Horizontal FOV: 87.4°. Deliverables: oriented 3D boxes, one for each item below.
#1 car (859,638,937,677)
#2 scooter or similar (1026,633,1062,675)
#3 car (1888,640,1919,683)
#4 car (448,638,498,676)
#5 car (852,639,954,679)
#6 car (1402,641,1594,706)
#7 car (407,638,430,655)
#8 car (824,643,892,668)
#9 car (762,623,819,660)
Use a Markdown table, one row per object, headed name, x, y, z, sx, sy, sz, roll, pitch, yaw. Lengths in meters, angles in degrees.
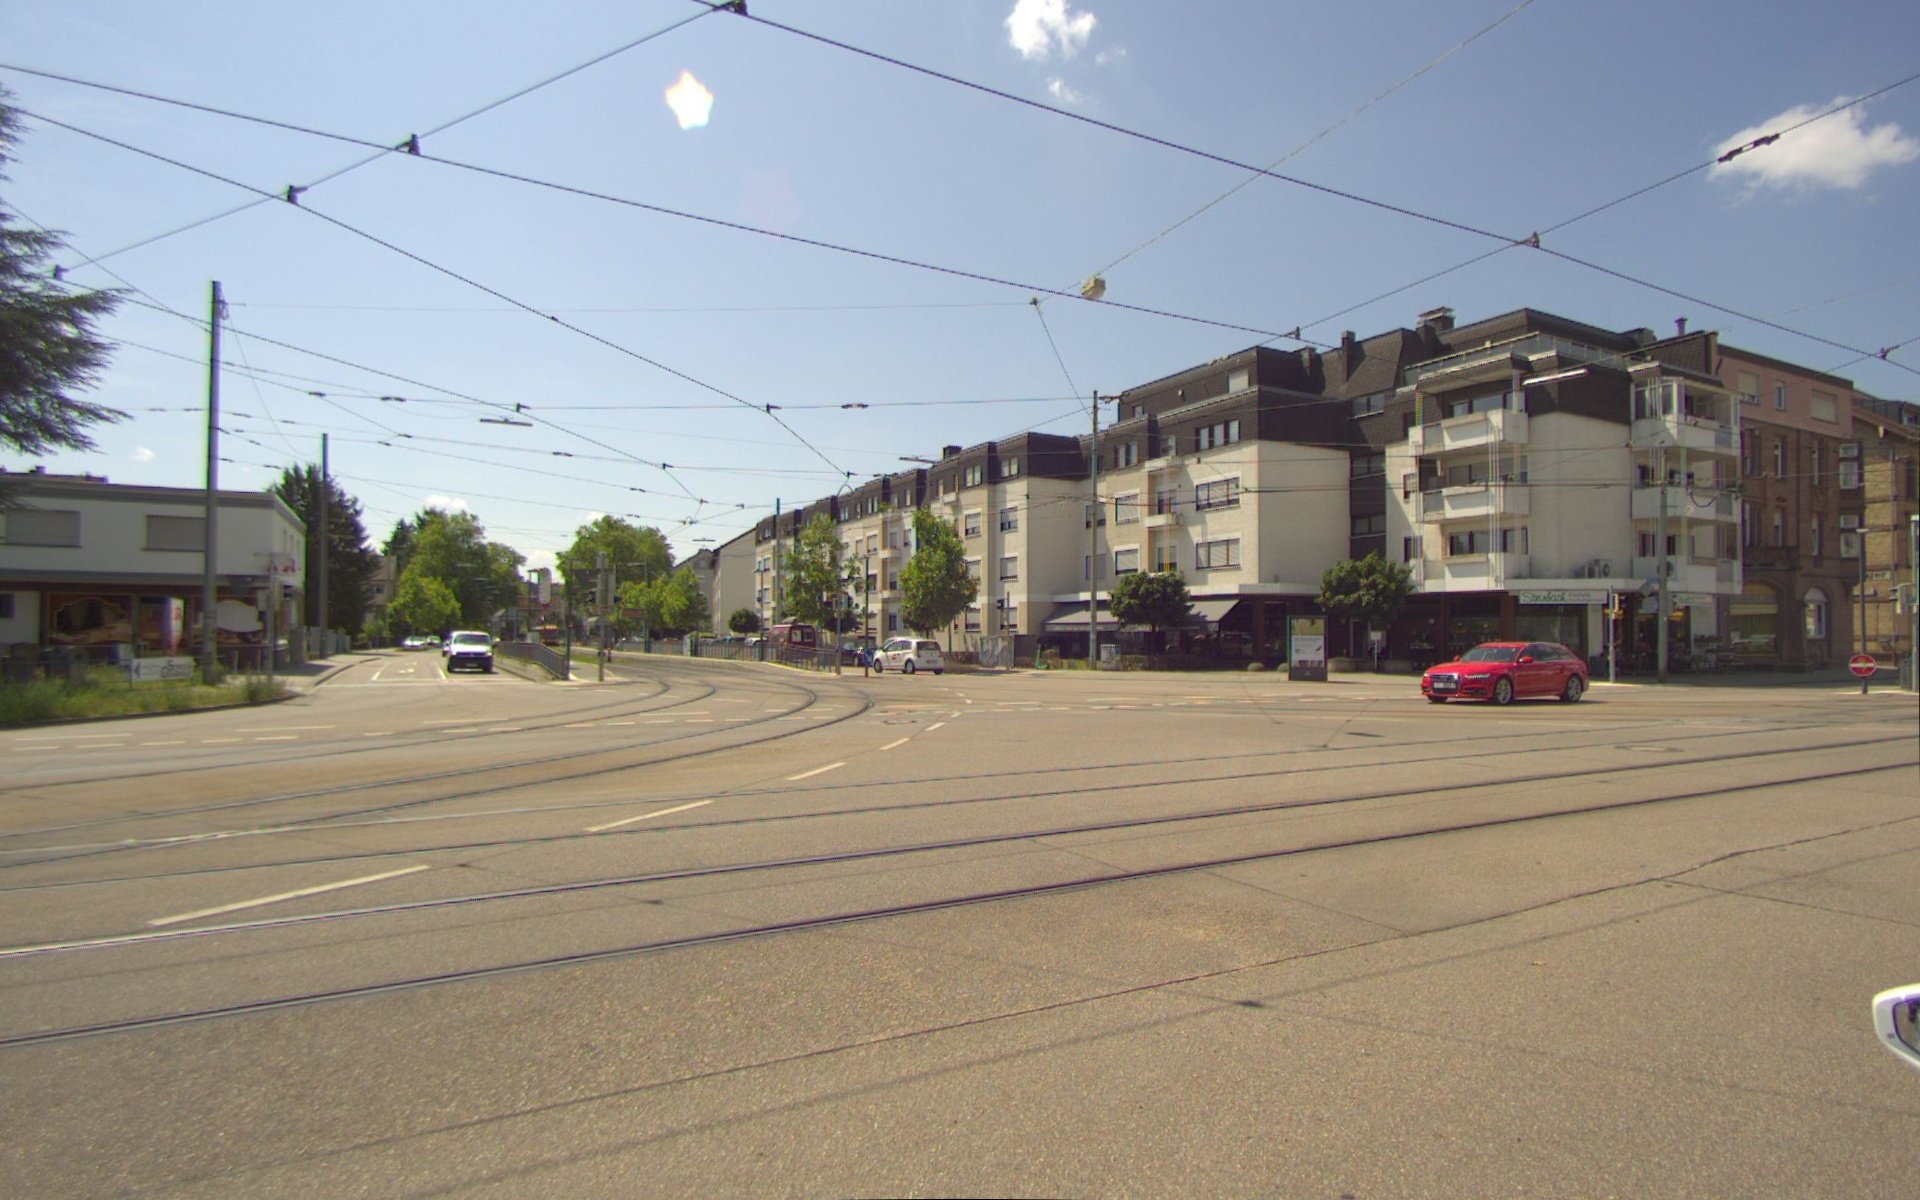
| name | x | y | z | sx | sy | sz | roll | pitch | yaw |
| --- | --- | --- | --- | --- | --- | --- | --- | --- | --- |
| car | -3.234 | 2.909 | 51.329 | 1.978 | 1.863 | 4.781 | 2 | -3 | -31 |
| scooter or similar | 3.846 | 2.443 | 45.929 | 0.610 | 1.870 | 1.997 | 1 | -3 | -31 |
| car | 38.085 | 2.358 | 39.014 | 4.551 | 1.636 | 1.727 | 1 | -3 | -30 |
| car | -23.418 | 2.708 | 48.224 | 1.976 | 1.750 | 3.971 | 1 | -3 | -29 |
| car | -2.511 | 2.503 | 43.419 | 1.984 | 1.627 | 4.765 | 2 | -3 | -40 |
| car | 13.301 | 1.754 | 24.777 | 4.765 | 1.469 | 1.984 | 1 | -3 | -30 |
| car | -55.923 | 4.749 | 103.718 | 1.977 | 1.542 | 3.968 | 2 | 0 | -30 |
| car | -5.787 | 3.095 | 56.638 | 1.978 | 1.350 | 4.781 | 1 | -3 | -31 |
| car | -11.230 | 2.737 | 66.320 | 2.189 | 2.369 | 5.181 | 1 | -3 | -29 |
